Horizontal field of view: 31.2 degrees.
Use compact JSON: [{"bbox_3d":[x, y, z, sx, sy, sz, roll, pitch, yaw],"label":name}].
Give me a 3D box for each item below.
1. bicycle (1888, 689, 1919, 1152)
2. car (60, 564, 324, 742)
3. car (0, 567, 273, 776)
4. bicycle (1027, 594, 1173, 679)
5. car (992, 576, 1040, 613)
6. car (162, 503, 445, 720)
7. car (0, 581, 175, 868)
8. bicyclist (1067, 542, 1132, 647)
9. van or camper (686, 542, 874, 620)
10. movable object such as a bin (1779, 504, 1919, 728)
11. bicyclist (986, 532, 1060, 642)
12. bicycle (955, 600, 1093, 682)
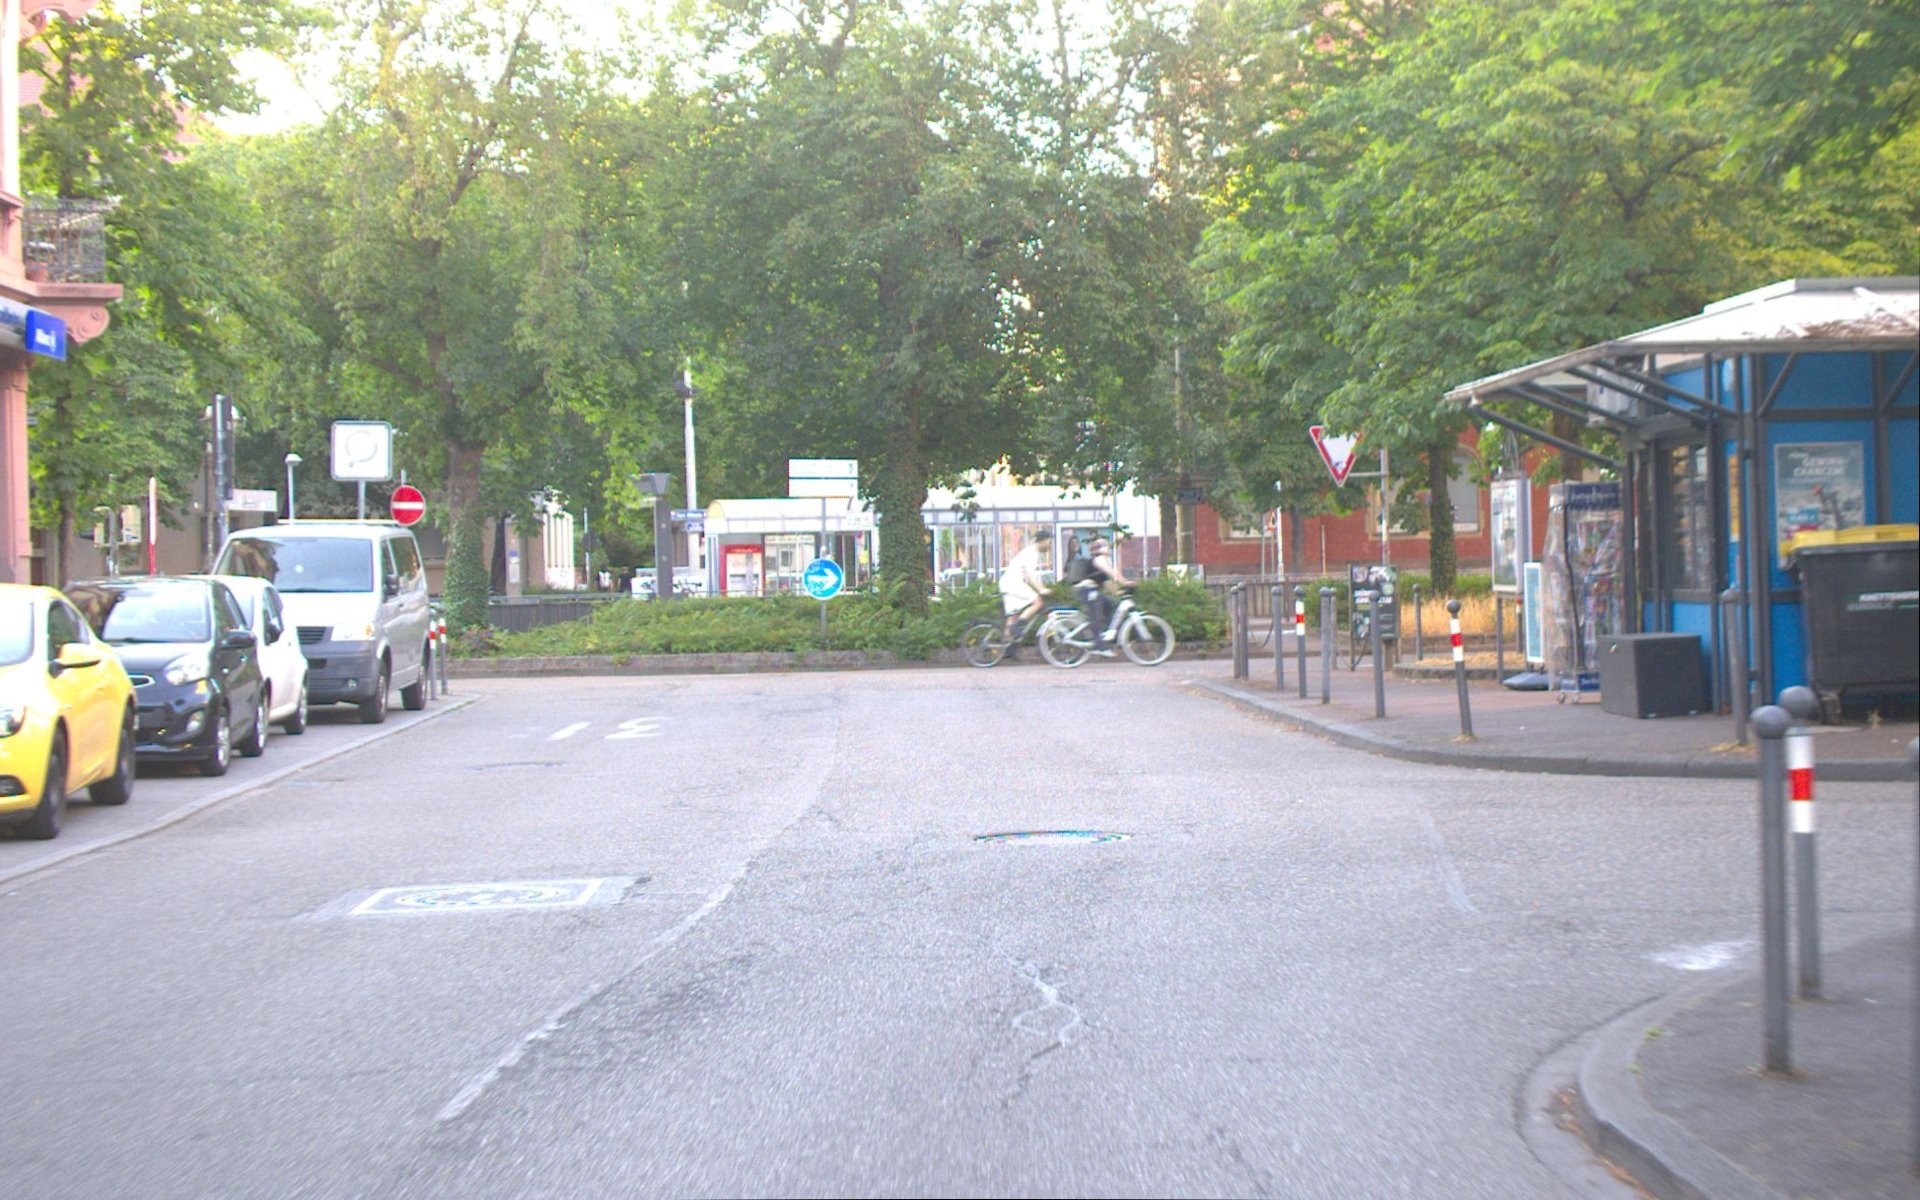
[{"bbox_3d":[2.341,0.754,6.149,0.684,1.147,2.115,-4,1,-1],"label":"bicycle"},{"bbox_3d":[-6.777,0.430,30.670,1.684,1.486,3.614,0,0,-2],"label":"car"},{"bbox_3d":[-6.353,0.498,26.422,1.728,1.486,3.743,0,0,-6],"label":"car"},{"bbox_3d":[1.842,0.473,45.457,1.828,1.066,0.709,-1,0,-5],"label":"bicycle"},{"bbox_3d":[2.640,-0.265,162.888,1.993,1.698,4.720,0,0,-3],"label":"car"},{"bbox_3d":[-6.621,0.092,35.216,2.040,2.050,5.005,0,0,-1],"label":"car"},{"bbox_3d":[-6.126,0.659,21.068,1.838,1.520,4.802,1,1,-4],"label":"car"},{"bbox_3d":[1.839,-0.075,45.463,0.736,1.354,0.709,-1,0,-5],"label":"bicyclist"},{"bbox_3d":[-7.217,-0.732,137.253,7.364,3.072,2.674,0,0,-6],"label":"van or camper"},{"bbox_3d":[6.365,0.091,23.720,1.222,1.470,0.765,-4,0,7],"label":"movable object such as a bin"},{"bbox_3d":[0.877,-0.190,47.860,0.916,1.497,0.709,-1,0,-6],"label":"bicyclist"},{"bbox_3d":[0.884,0.565,47.862,1.828,1.066,0.709,-1,0,-6],"label":"bicycle"}]
